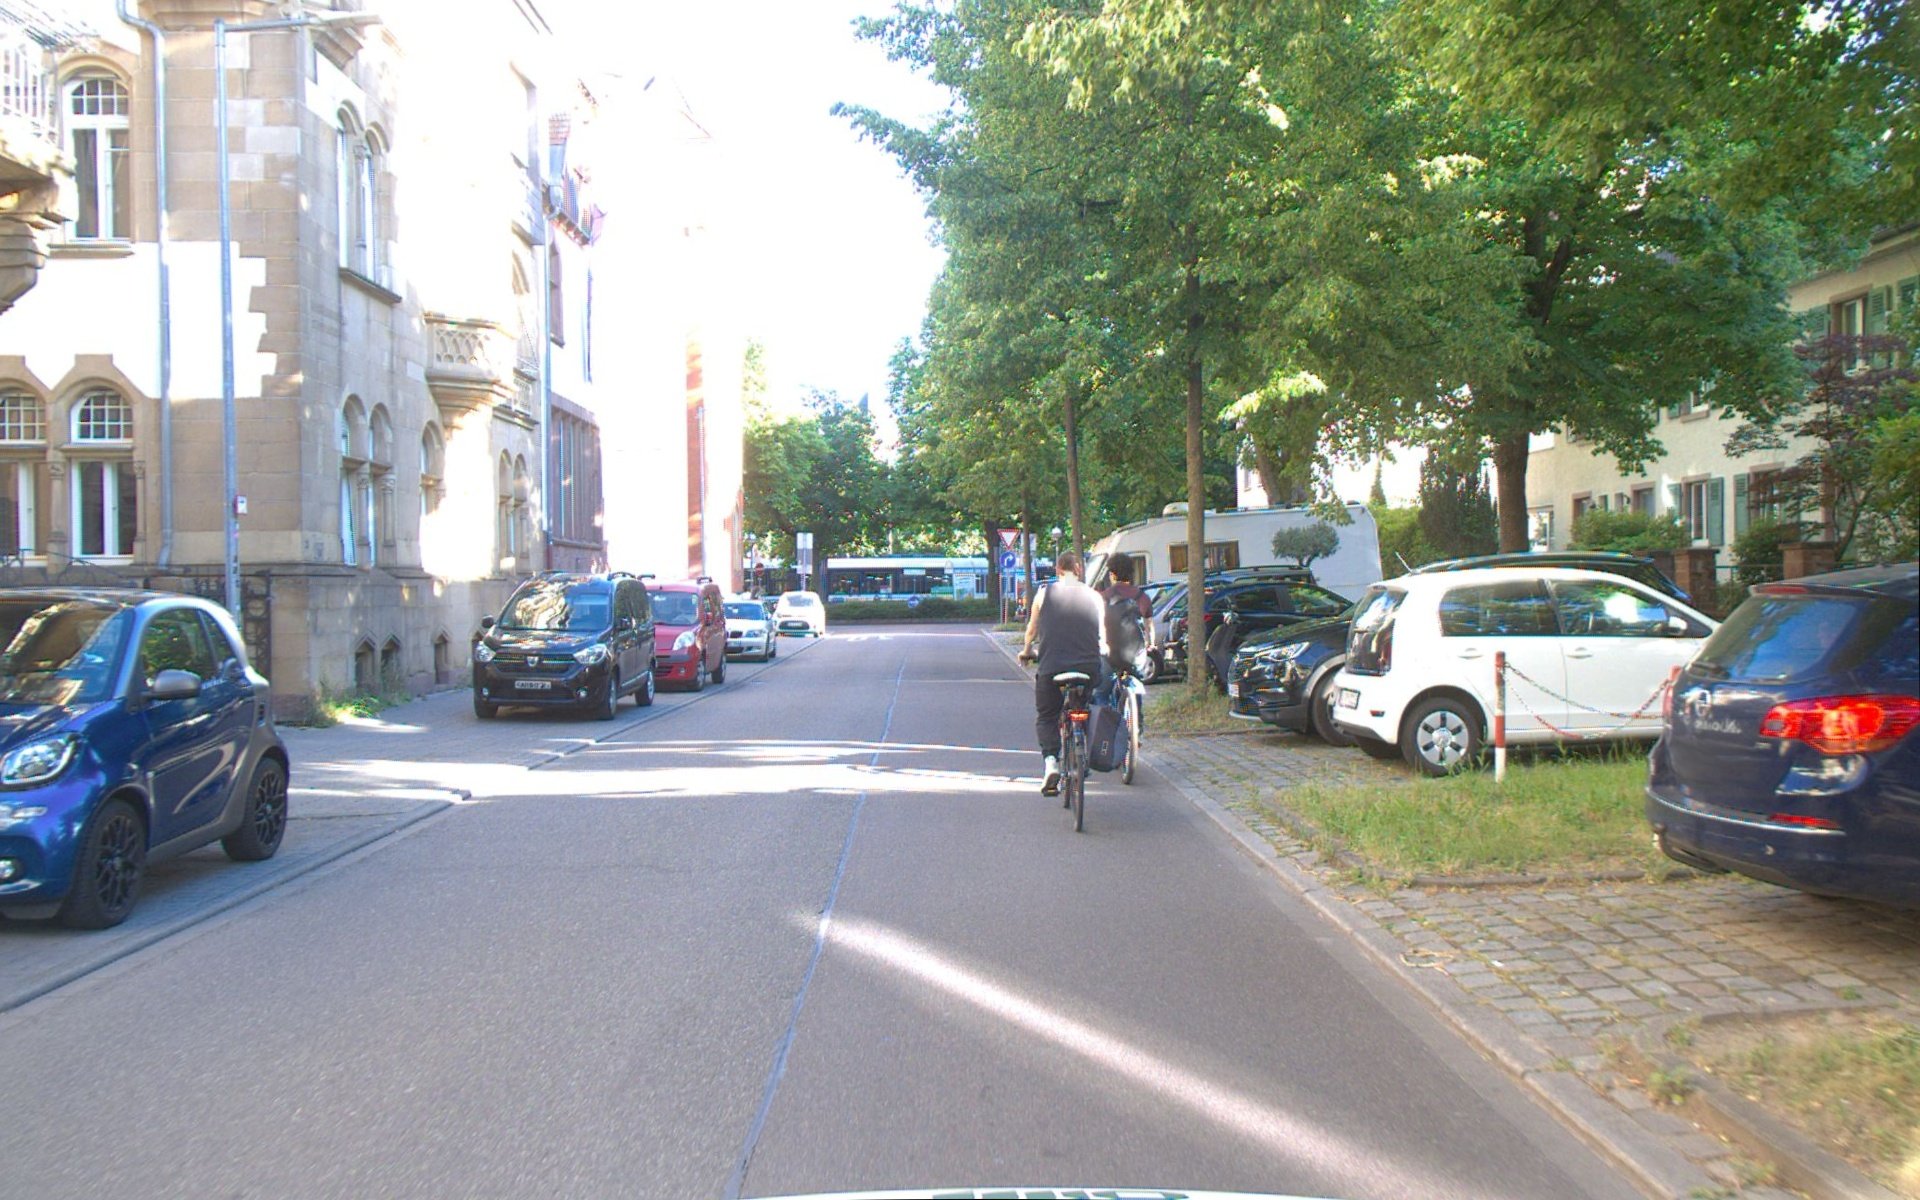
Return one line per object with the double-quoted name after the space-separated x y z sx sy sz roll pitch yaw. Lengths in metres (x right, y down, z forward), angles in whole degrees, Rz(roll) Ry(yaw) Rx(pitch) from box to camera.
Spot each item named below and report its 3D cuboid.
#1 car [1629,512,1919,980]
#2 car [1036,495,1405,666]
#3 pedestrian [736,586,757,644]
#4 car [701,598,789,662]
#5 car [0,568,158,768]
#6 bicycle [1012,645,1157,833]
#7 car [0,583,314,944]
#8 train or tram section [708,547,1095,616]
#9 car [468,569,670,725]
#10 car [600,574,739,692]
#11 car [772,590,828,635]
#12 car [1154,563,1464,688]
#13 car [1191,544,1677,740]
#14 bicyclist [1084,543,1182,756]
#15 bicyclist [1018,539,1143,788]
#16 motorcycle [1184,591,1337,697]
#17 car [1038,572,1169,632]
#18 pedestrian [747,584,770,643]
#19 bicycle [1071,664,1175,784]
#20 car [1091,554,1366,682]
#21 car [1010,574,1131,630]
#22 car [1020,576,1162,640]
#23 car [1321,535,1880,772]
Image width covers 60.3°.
5.118 0.475 6.638 4.136 1.628 1.691 -2 -2 0 "car"
5.243 -0.393 33.933 7.006 3.030 2.462 -3 0 -4 "car"
-6.685 0.458 51.727 0.596 1.793 0.432 0 -1 -1 "pedestrian"
-5.067 0.670 39.408 1.551 1.367 4.131 1 1 -1 "car"
-9.677 0.582 14.818 4.114 1.697 1.718 0 0 -3 "car"
0.776 0.856 10.832 0.722 1.072 1.955 1 -1 -2 "bicycle"
-4.670 0.708 8.629 1.564 1.515 2.735 2 1 -3 "car"
-3.183 -0.982 99.535 23.487 3.773 4.254 0 0 -24 "train or tram section"
-4.984 0.520 21.626 1.607 1.814 4.354 1 1 -1 "car"
-4.920 0.491 28.510 1.654 1.857 4.272 1 1 -1 "car"
-5.466 0.398 56.902 1.551 1.399 4.131 1 1 -1 "car"
4.983 0.372 23.960 4.057 1.628 1.701 -2 -2 -4 "car"
4.327 0.395 15.562 4.054 1.628 1.702 -2 -2 0 "car"
1.385 0.381 13.362 0.675 1.655 0.998 0 0 -1 "bicyclist"
0.779 0.407 10.930 0.715 1.575 0.884 1 -1 -2 "bicyclist"
3.440 0.503 18.945 1.574 1.160 0.671 -1 0 32 "motorcycle"
4.488 0.060 52.064 3.908 1.835 1.833 0 0 -4 "car"
-5.896 0.387 48.451 0.596 1.708 0.518 0 -1 -1 "pedestrian"
1.309 0.983 13.553 0.620 0.813 1.832 -2 1 -1 "bicycle"
4.235 0.272 26.436 4.002 1.678 1.640 -4 0 -3 "car"
3.711 0.078 56.180 3.908 1.835 1.833 0 0 -4 "car"
3.788 0.236 48.294 3.908 1.835 1.833 0 0 -4 "car"
4.874 0.388 12.956 3.695 1.627 1.691 -2 0 0 "car"
